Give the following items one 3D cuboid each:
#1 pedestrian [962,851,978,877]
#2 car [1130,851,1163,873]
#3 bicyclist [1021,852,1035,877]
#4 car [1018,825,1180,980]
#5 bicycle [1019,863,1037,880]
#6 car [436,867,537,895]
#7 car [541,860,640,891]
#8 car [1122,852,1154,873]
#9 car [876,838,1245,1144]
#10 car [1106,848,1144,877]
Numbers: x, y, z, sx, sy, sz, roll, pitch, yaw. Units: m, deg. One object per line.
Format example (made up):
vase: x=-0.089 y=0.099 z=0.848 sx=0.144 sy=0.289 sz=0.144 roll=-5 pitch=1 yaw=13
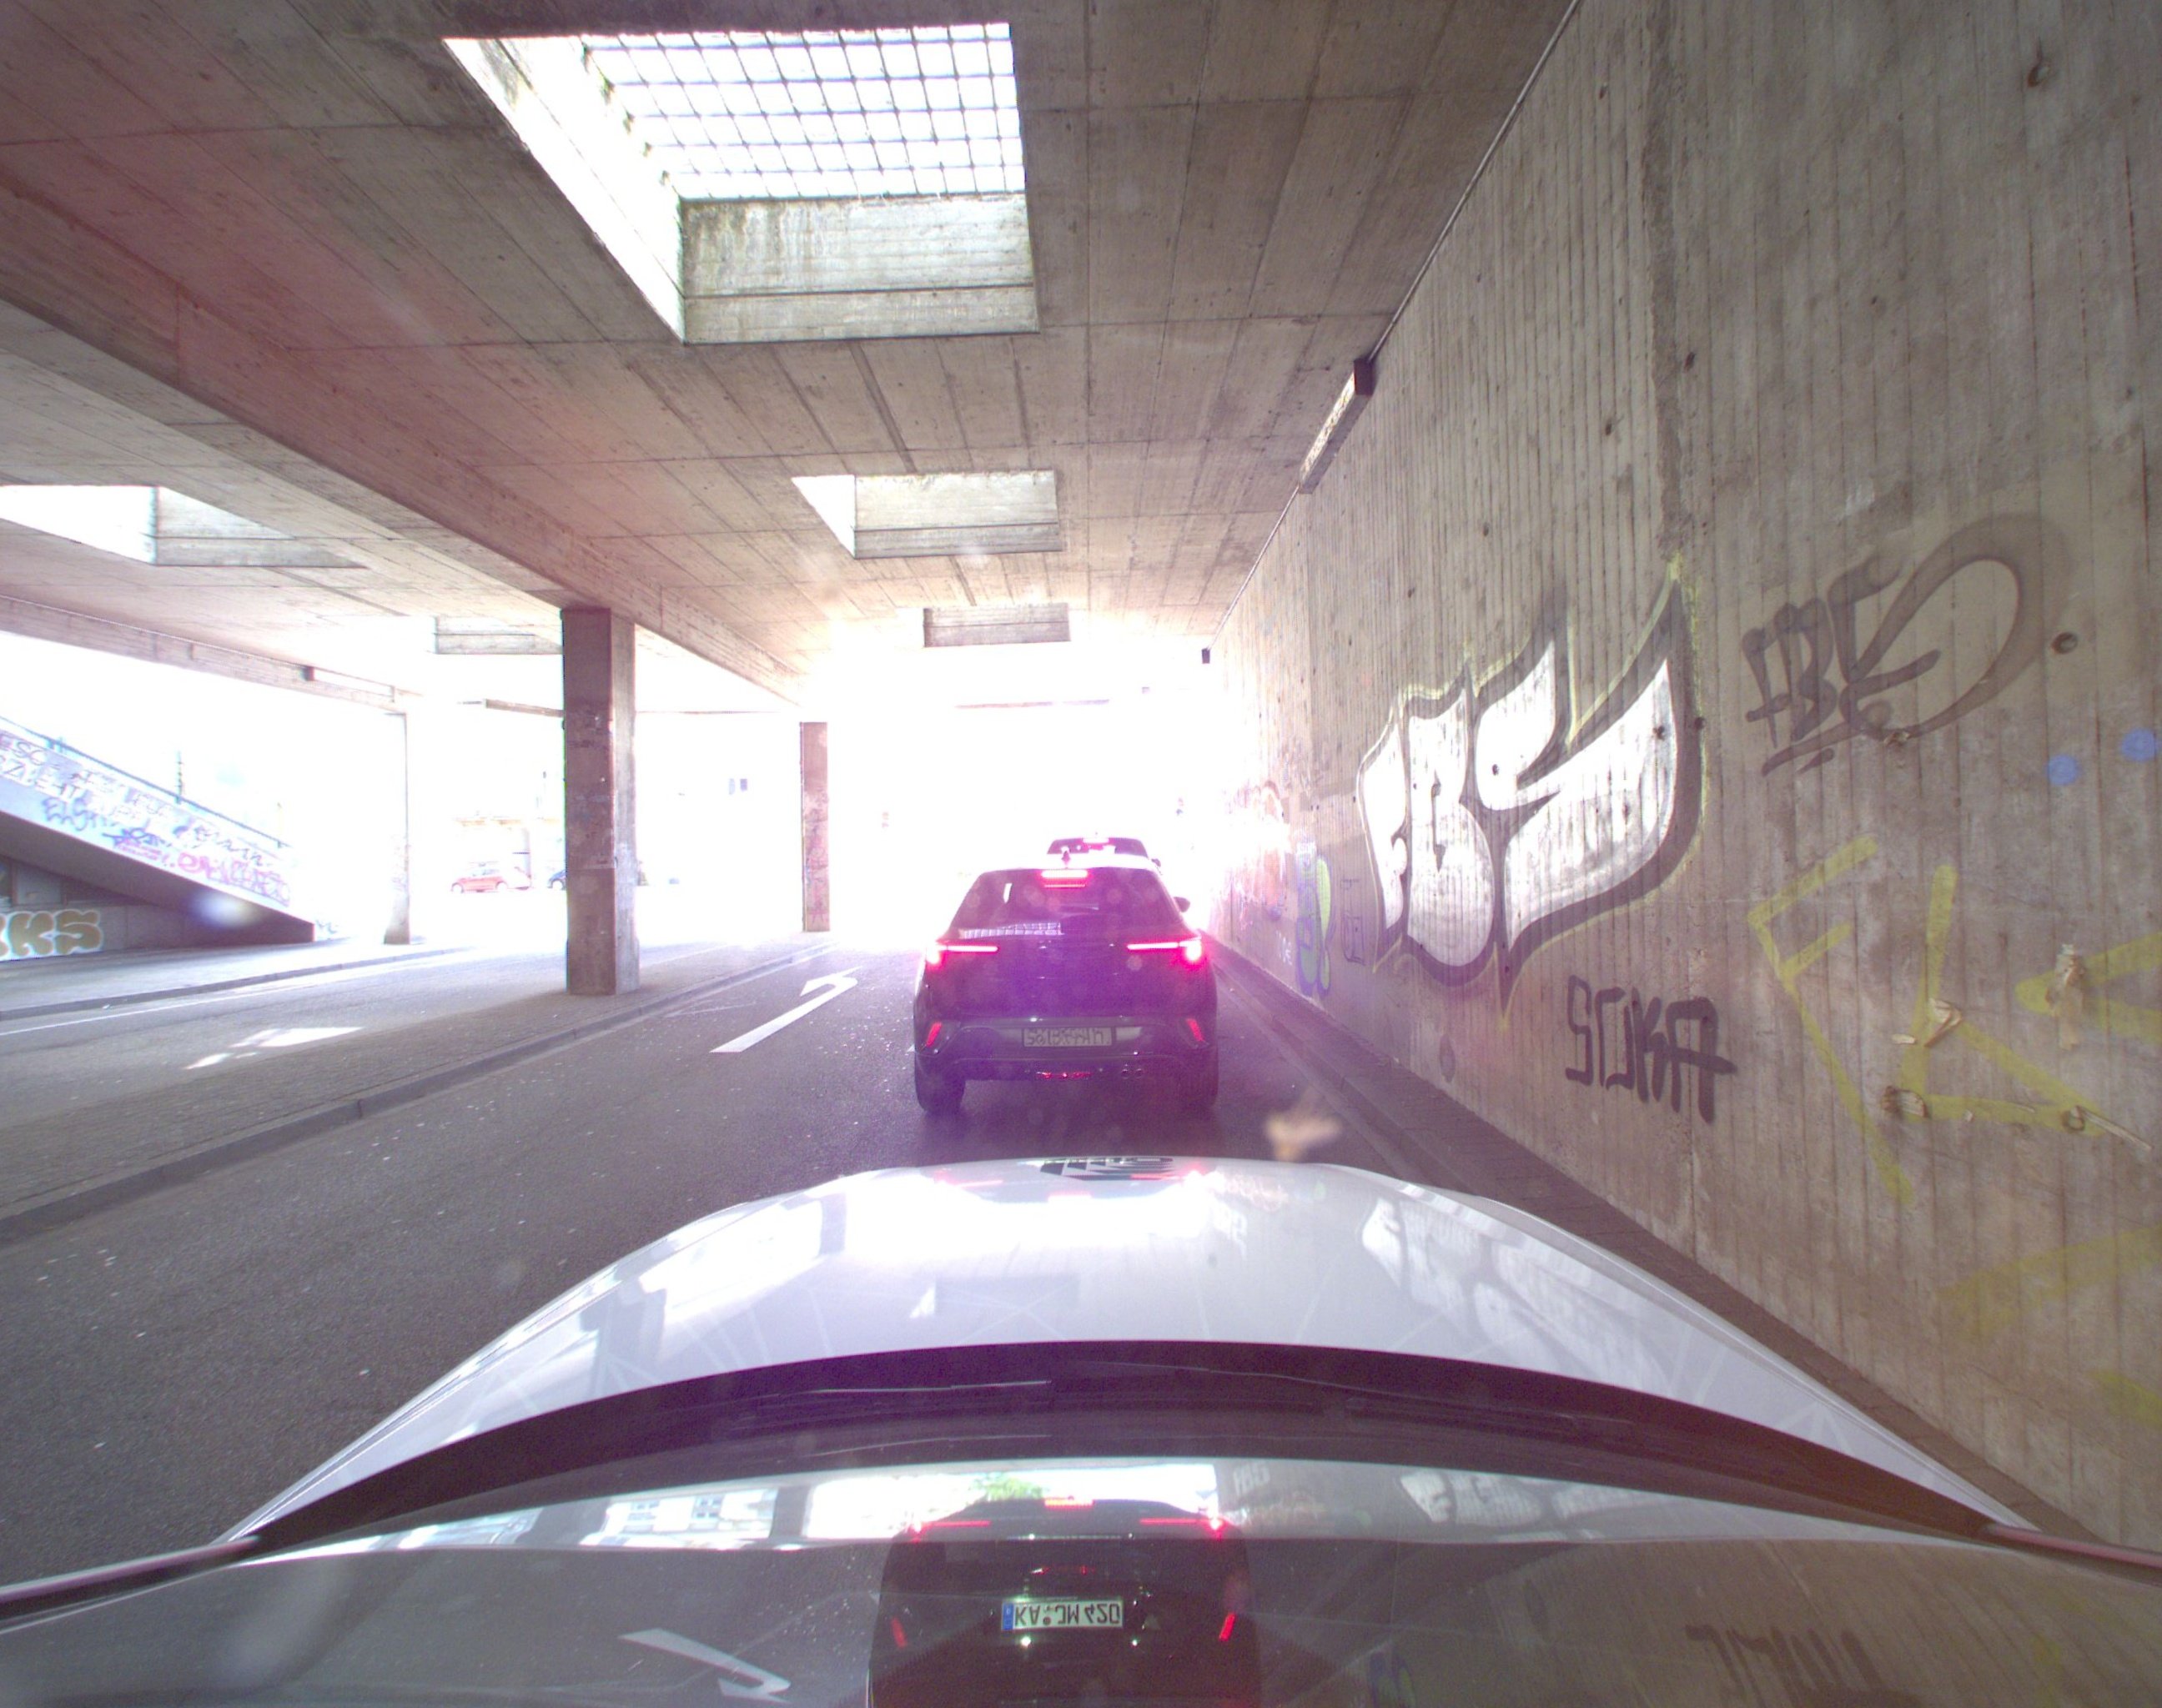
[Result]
pedestrian: x=-9.040 y=0.816 z=66.392 sx=0.986 sy=2.013 sz=1.091 roll=-2 pitch=0 yaw=10
car: x=5.593 y=0.684 z=69.067 sx=2.206 sy=1.719 sz=4.474 roll=-2 pitch=-2 yaw=12
bicyclist: x=-3.374 y=0.650 z=51.809 sx=0.724 sy=1.581 sz=0.817 roll=-1 pitch=-1 yaw=11
car: x=0.286 y=0.594 z=12.038 sx=1.938 sy=1.860 sz=3.966 roll=-2 pitch=0 yaw=2
bicycle: x=-3.384 y=1.107 z=51.774 sx=0.727 sy=1.067 sz=1.694 roll=-1 pitch=-1 yaw=11
car: x=-33.008 y=1.492 z=45.271 sx=3.970 sy=1.374 sz=2.192 roll=-2 pitch=0 yaw=3
car: x=-27.204 y=1.199 z=45.271 sx=4.114 sy=1.550 sz=2.268 roll=-2 pitch=0 yaw=1
car: x=4.411 y=0.640 z=62.281 sx=1.955 sy=1.497 sz=3.908 roll=-2 pitch=-2 yaw=11
car: x=-0.046 y=0.711 z=6.218 sx=1.875 sy=1.538 sz=3.966 roll=-2 pitch=0 yaw=2
car: x=2.412 y=0.501 z=44.296 sx=1.959 sy=1.497 sz=3.900 roll=-2 pitch=-2 yaw=4
